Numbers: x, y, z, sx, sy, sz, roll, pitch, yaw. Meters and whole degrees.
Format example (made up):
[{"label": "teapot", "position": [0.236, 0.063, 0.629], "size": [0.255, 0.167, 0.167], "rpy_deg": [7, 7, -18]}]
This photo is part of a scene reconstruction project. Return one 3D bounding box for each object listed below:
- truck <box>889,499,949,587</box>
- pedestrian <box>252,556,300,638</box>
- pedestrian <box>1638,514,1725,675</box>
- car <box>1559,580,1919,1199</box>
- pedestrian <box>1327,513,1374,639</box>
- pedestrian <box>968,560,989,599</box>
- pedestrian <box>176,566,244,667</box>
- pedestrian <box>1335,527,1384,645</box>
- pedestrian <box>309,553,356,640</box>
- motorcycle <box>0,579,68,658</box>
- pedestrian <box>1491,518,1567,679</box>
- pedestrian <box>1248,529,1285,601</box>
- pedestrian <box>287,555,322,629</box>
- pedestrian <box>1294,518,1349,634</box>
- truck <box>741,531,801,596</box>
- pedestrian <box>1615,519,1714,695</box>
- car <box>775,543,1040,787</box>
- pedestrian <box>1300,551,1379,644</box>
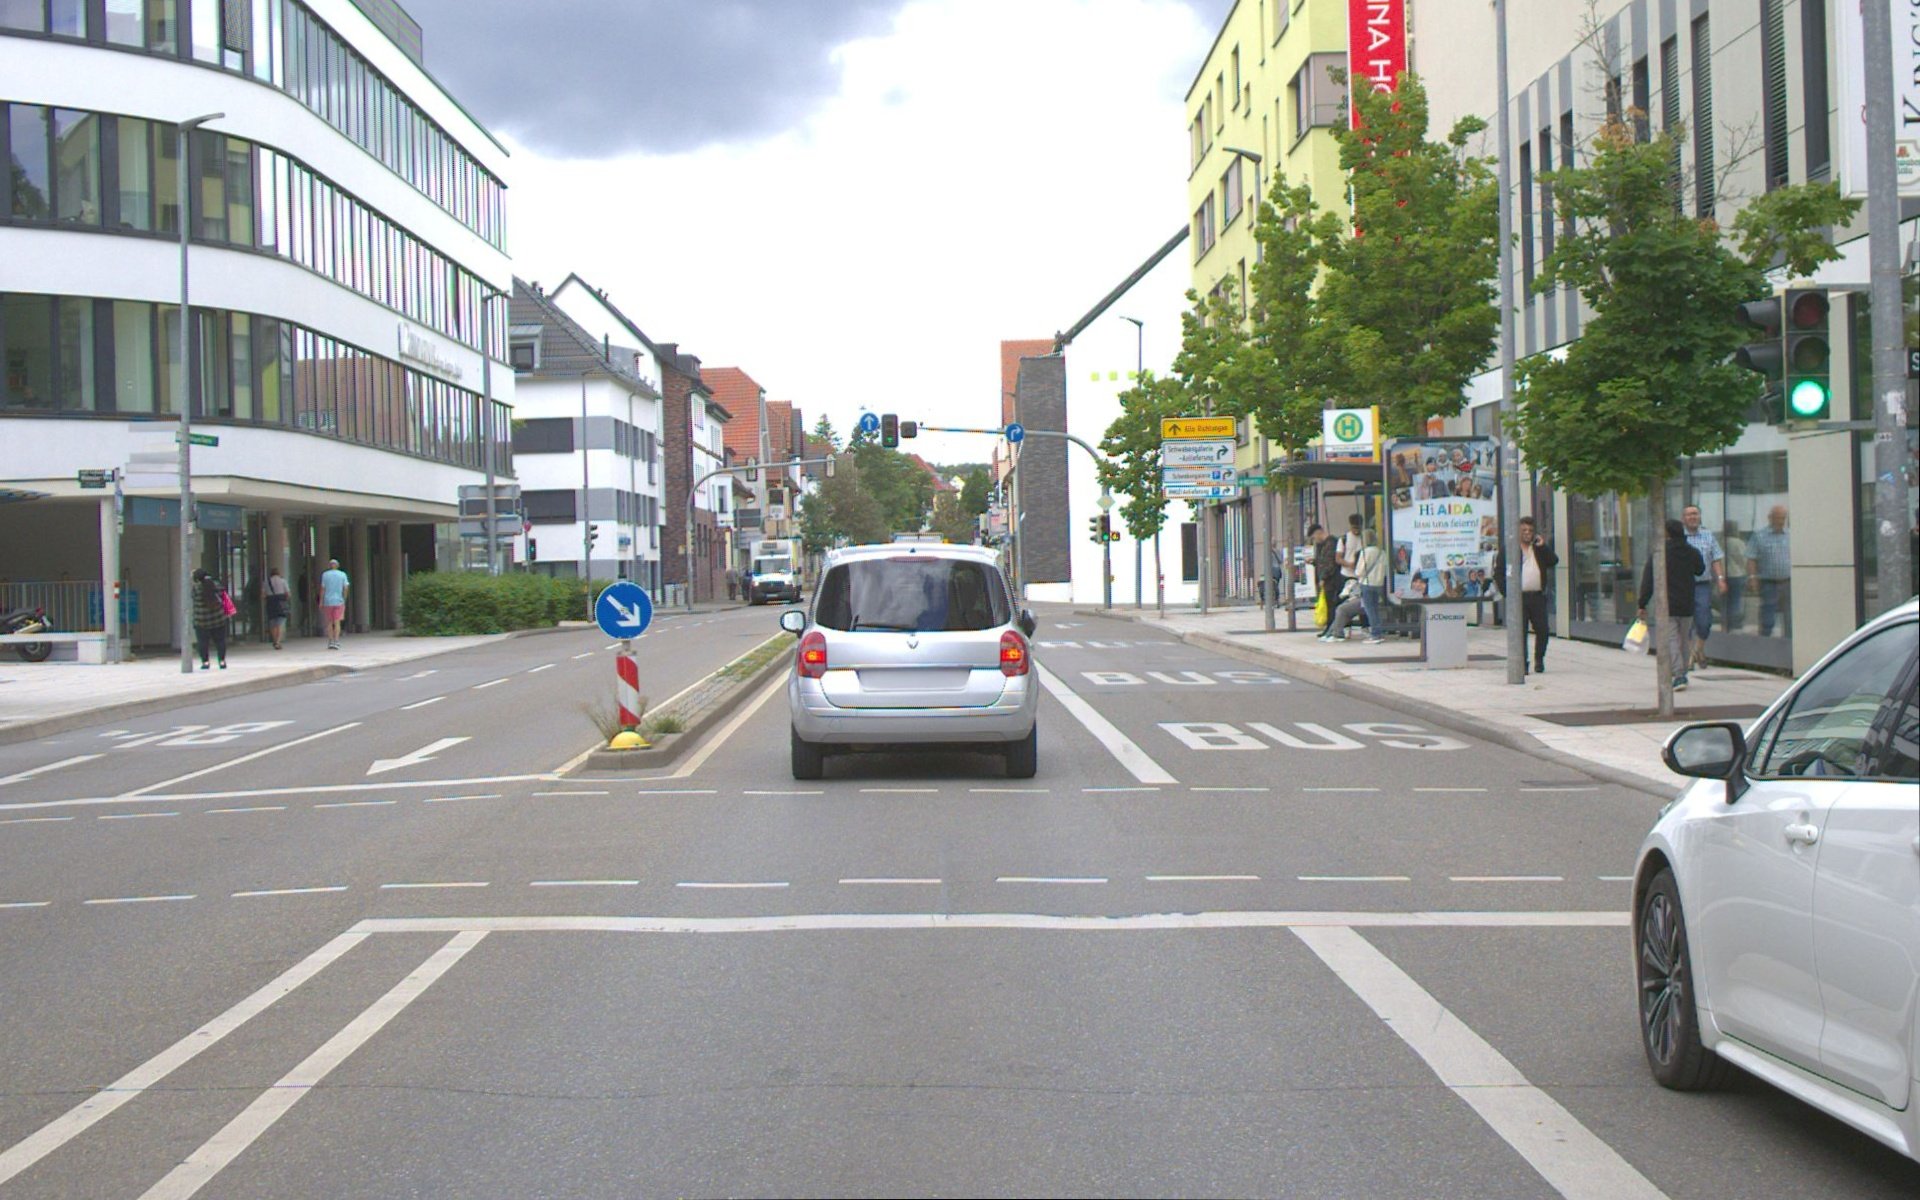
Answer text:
[{"label": "truck", "position": [-1.818, -2.600, 156.735], "size": [2.595, 3.844, 6.849], "rpy_deg": [-1, 1, 0]}, {"label": "pedestrian", "position": [-13.394, -0.062, 67.367], "size": [0.730, 1.607, 0.931], "rpy_deg": [0, 1, 1]}, {"label": "pedestrian", "position": [7.589, -0.062, 36.176], "size": [0.744, 1.663, 0.614], "rpy_deg": [-1, 1, 0]}, {"label": "car", "position": [2.759, 0.682, 8.113], "size": [1.782, 1.420, 4.515], "rpy_deg": [-1, 1, -2]}, {"label": "pedestrian", "position": [5.581, -0.342, 49.176], "size": [0.579, 1.763, 0.856], "rpy_deg": [-2, 0, 5]}, {"label": "pedestrian", "position": [0.859, -0.957, 159.726], "size": [0.807, 1.781, 0.861], "rpy_deg": [-4, 1, 0]}, {"label": "pedestrian", "position": [-11.723, 0.250, 53.768], "size": [0.830, 1.562, 0.813], "rpy_deg": [0, 1, 5]}, {"label": "pedestrian", "position": [5.456, -0.193, 46.957], "size": [0.579, 1.585, 0.732], "rpy_deg": [-2, 0, 5]}, {"label": "pedestrian", "position": [-12.137, -0.077, 66.513], "size": [0.730, 1.668, 0.931], "rpy_deg": [0, 1, 1]}, {"label": "motorcycle", "position": [-16.313, 0.306, 58.988], "size": [1.855, 1.328, 0.636], "rpy_deg": [0, 1, 3]}, {"label": "pedestrian", "position": [6.009, -0.021, 36.312], "size": [0.655, 1.663, 0.614], "rpy_deg": [-1, 1, 0]}, {"label": "pedestrian", "position": [7.000, -0.800, 78.523], "size": [0.695, 1.588, 0.603], "rpy_deg": [-3, 1, -1]}, {"label": "pedestrian", "position": [-15.558, -0.194, 81.593], "size": [0.505, 1.724, 0.614], "rpy_deg": [-1, 0, 31]}, {"label": "pedestrian", "position": [5.325, -0.357, 50.657], "size": [0.721, 1.678, 0.732], "rpy_deg": [-2, 0, 5]}, {"label": "truck", "position": [-8.778, -1.727, 160.413], "size": [2.435, 2.943, 8.365], "rpy_deg": [-1, 1, -1]}, {"label": "pedestrian", "position": [6.578, 0.058, 32.120], "size": [0.740, 1.603, 0.715], "rpy_deg": [-1, 1, 0]}, {"label": "car", "position": [-0.367, 0.399, 24.303], "size": [1.706, 1.573, 4.000], "rpy_deg": [0, 1, -1]}, {"label": "pedestrian", "position": [5.315, -0.037, 48.128], "size": [0.942, 1.255, 0.733], "rpy_deg": [-2, 0, -3]}]
